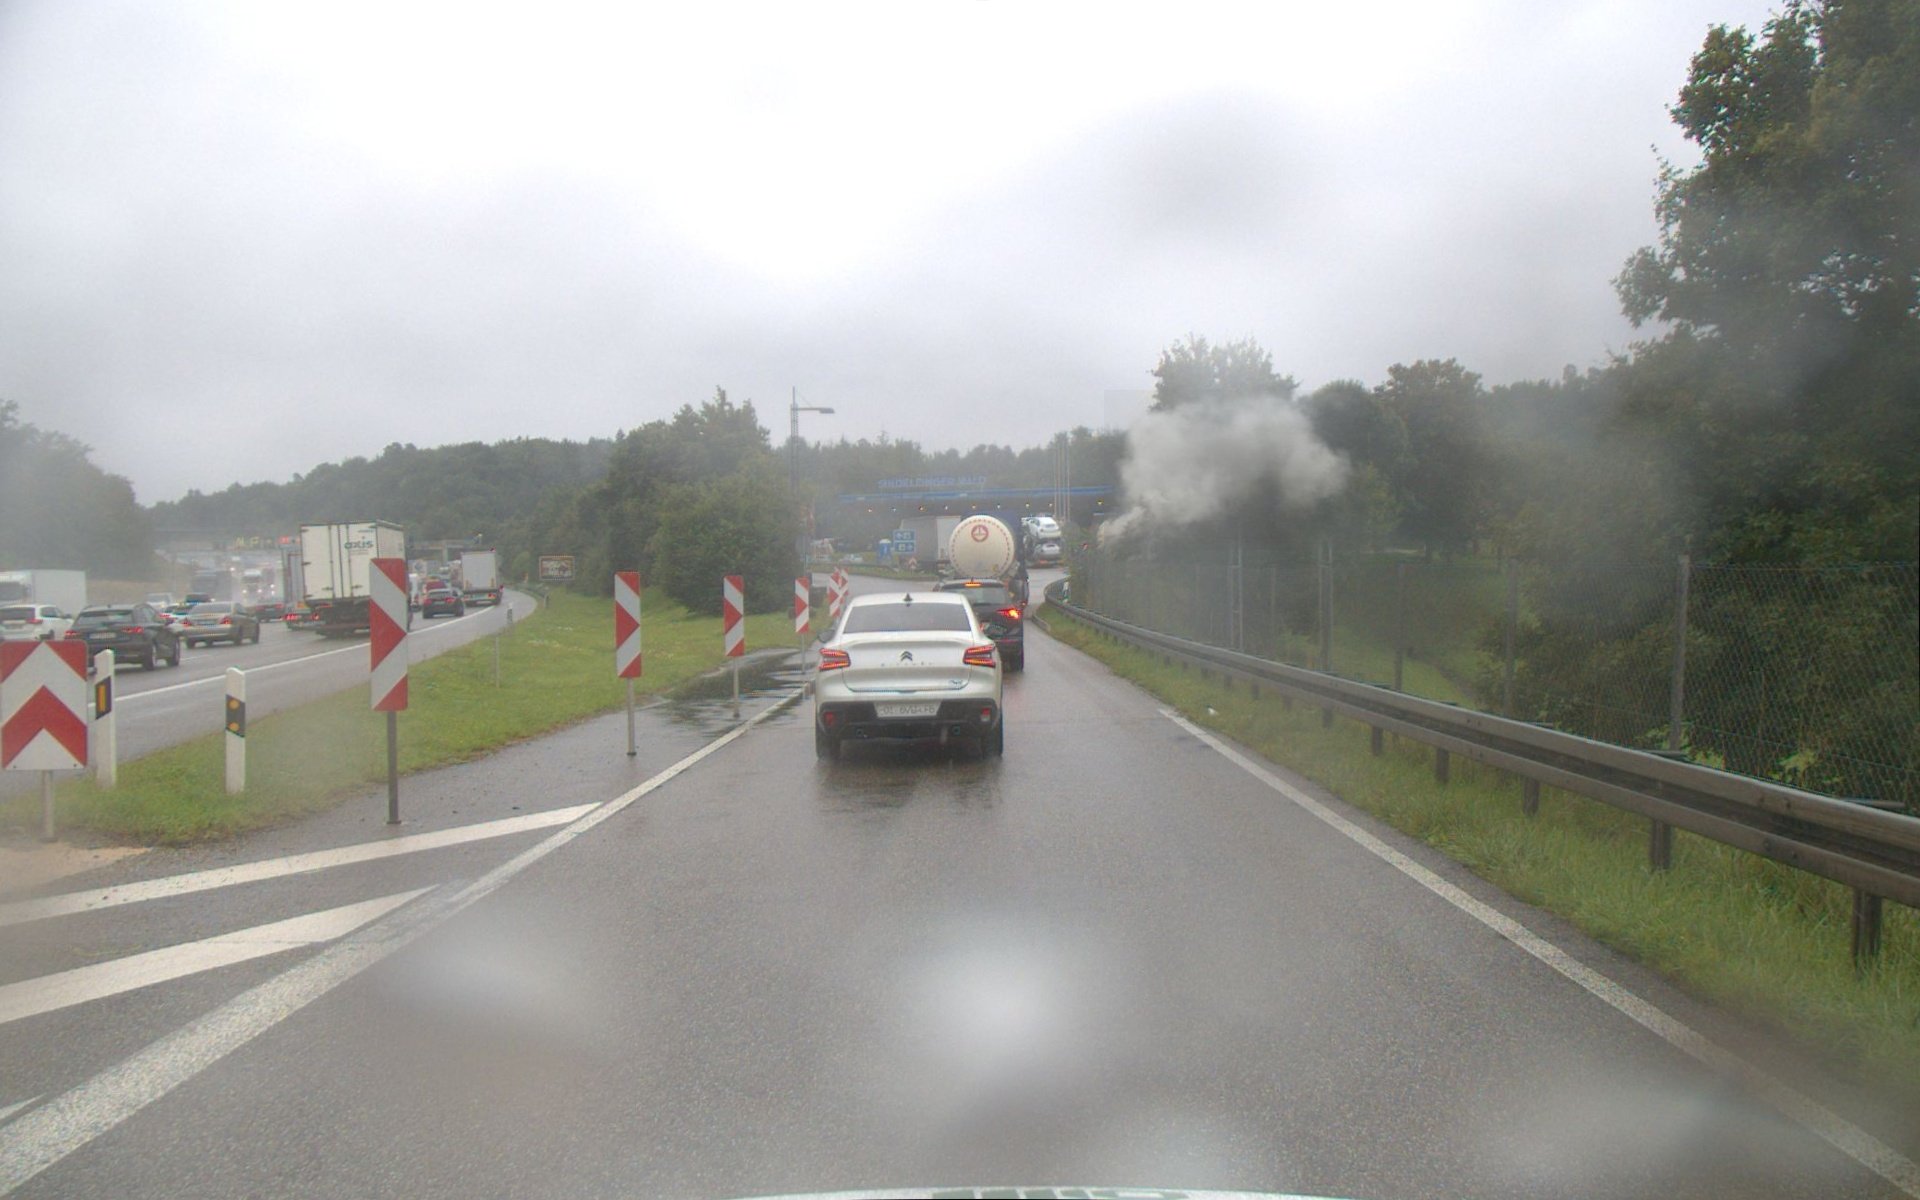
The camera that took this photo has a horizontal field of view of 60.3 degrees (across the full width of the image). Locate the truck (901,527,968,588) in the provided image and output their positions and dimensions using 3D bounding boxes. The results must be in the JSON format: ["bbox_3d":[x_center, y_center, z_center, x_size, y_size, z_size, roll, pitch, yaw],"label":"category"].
[{"bbox_3d":[-1.889,-3.011,115.634,2.329,3.940,12.422,-3,2,-11],"label":"truck"}]

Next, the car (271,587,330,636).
[{"bbox_3d":[-29.666,0.506,74.470,1.962,2.048,3.983,-3,1,-16],"label":"car"}]

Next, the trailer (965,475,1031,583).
[{"bbox_3d":[1.342,-2.368,55.985,1.939,3.280,10.326,-2,2,2],"label":"trailer"}]

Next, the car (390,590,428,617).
[{"bbox_3d":[-38.205,0.223,114.766,1.958,1.847,3.990,-1,1,-11],"label":"car"}]

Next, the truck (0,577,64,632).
[{"bbox_3d":[-63.059,0.297,112.205,2.603,3.512,5.578,-2,1,-15],"label":"truck"}]

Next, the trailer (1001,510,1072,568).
[{"bbox_3d":[5.786,-4.738,127.823,3.156,4.261,11.507,-1,2,-9],"label":"trailer"}]

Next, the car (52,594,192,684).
[{"bbox_3d":[-18.334,0.802,36.370,1.745,1.766,3.835,-3,1,-12],"label":"car"}]

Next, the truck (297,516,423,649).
[{"bbox_3d":[-22.040,-0.578,61.407,2.800,4.367,11.803,-2,0,-13],"label":"truck"}]

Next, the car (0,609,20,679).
[{"bbox_3d":[-25.122,1.158,41.177,1.744,1.766,4.088,-2,1,-12],"label":"car"}]

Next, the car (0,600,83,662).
[{"bbox_3d":[-33.051,1.072,59.106,1.959,2.048,3.987,-3,1,-13],"label":"car"}]

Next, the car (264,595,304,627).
[{"bbox_3d":[-41.608,0.652,101.843,1.669,1.818,3.771,-2,1,-15],"label":"car"}]

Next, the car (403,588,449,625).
[{"bbox_3d":[-28.665,0.332,88.861,1.959,1.847,3.987,-2,1,-13],"label":"car"}]

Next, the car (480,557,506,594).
[{"bbox_3d":[-46.421,-2.417,164.327,2.335,3.546,4.791,1,0,-18],"label":"car"}]

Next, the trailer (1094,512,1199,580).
[{"bbox_3d":[10.444,-3.065,91.386,2.090,3.500,10.241,-1,2,28],"label":"trailer"}]

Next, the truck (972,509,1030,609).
[{"bbox_3d":[1.586,-1.587,62.667,2.010,3.592,4.748,-2,2,2],"label":"truck"}]

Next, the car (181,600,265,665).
[{"bbox_3d":[-24.335,1.038,54.743,1.758,2.005,4.319,-2,0,-14],"label":"car"}]

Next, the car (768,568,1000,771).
[{"bbox_3d":[-0.707,0.575,16.103,1.953,1.708,3.999,1,1,-2],"label":"car"}]

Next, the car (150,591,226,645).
[{"bbox_3d":[-31.633,0.701,67.858,1.959,2.048,3.987,-2,1,-13],"label":"car"}]

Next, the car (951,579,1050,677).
[{"bbox_3d":[0.684,0.479,30.710,1.707,1.696,4.000,0,0,0],"label":"car"}]

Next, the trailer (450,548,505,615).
[{"bbox_3d":[-36.800,-1.364,125.859,3.493,4.692,12.059,-3,1,-18],"label":"trailer"}]
